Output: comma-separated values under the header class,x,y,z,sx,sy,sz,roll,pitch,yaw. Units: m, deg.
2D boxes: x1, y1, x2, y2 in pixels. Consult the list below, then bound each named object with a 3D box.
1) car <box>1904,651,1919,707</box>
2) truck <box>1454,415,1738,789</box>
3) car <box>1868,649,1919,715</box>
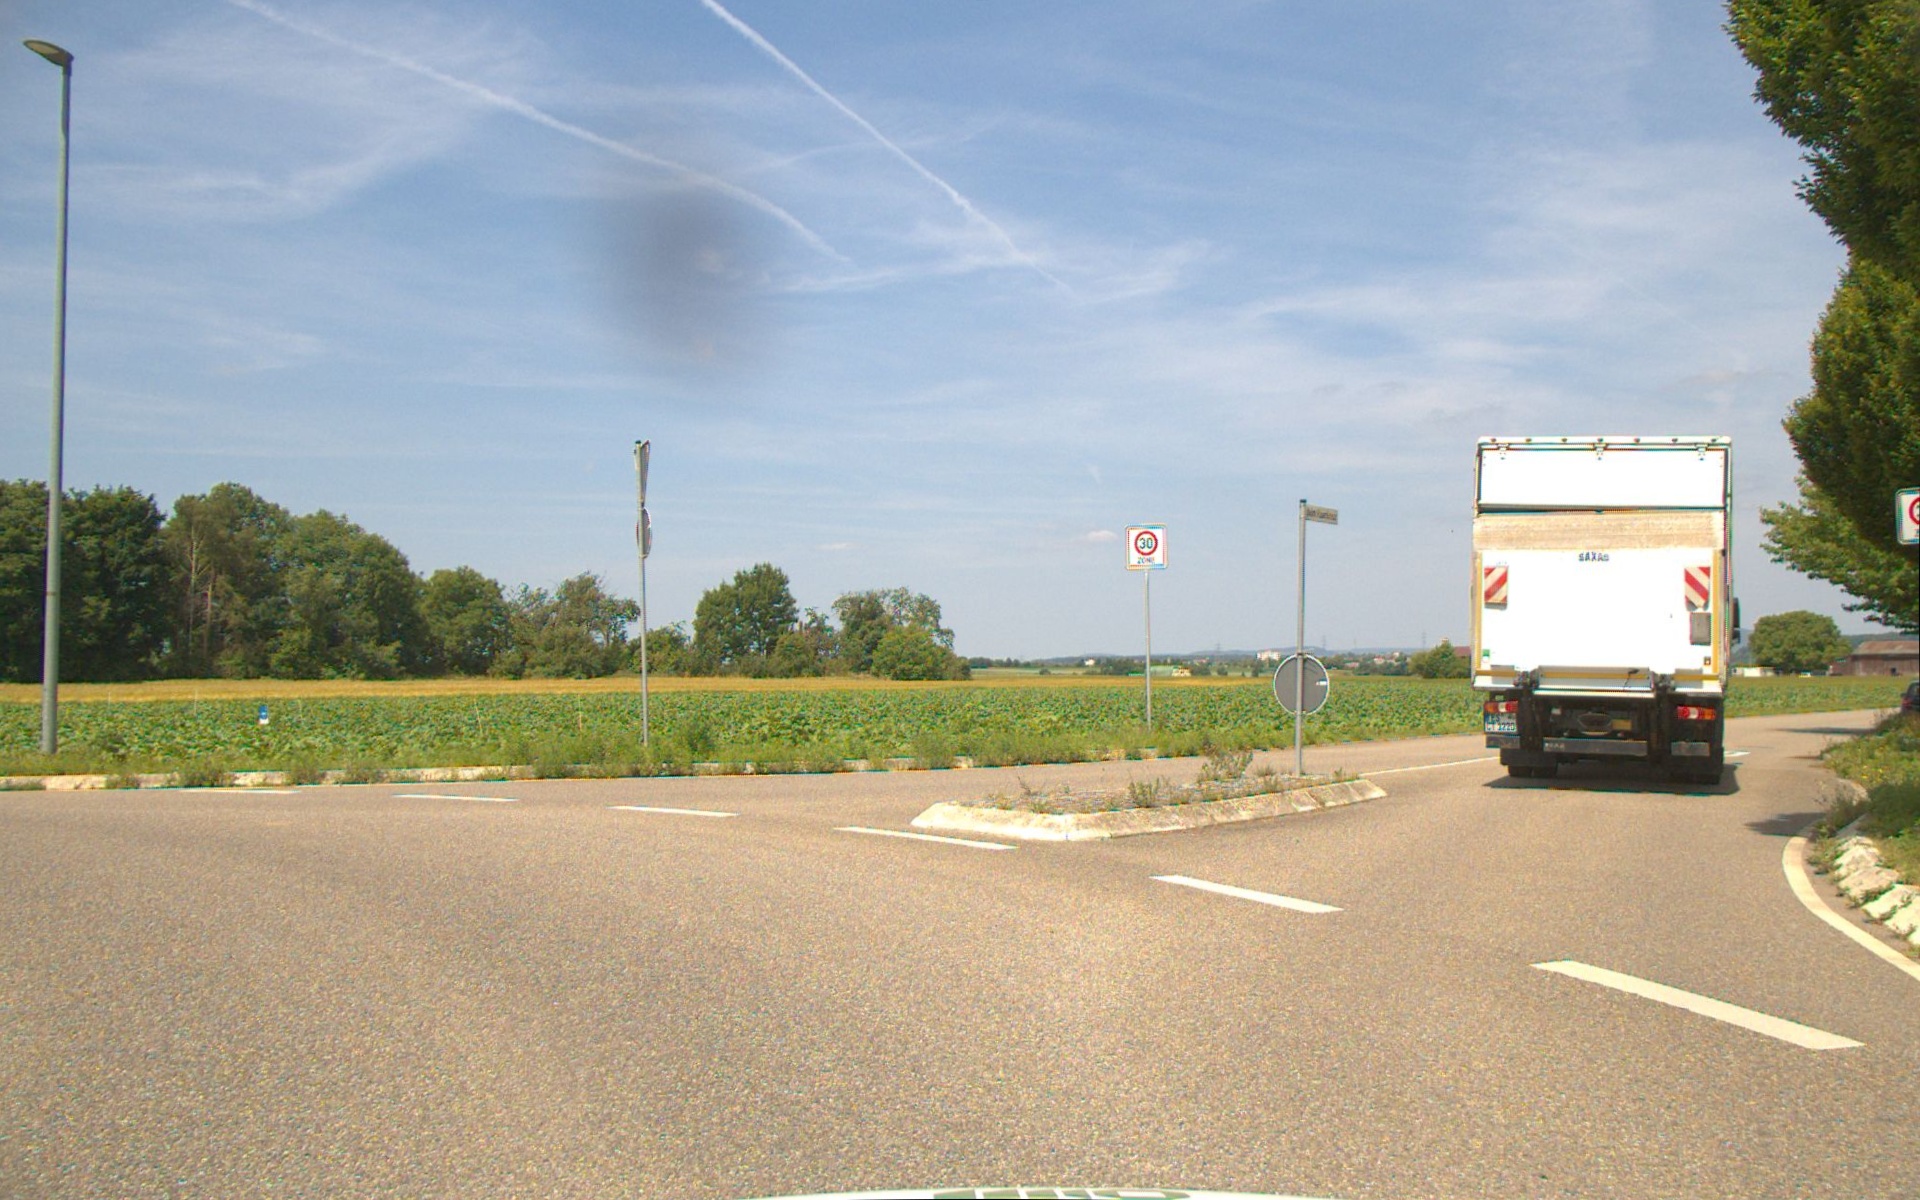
class,x,y,z,sx,sy,sz,roll,pitch,yaw
car,31.981,2.565,53.726,1.959,1.747,3.986,-2,-4,34
truck,8.458,0.165,21.345,2.712,3.735,9.375,-1,-2,25
car,27.870,2.376,48.299,1.958,1.825,3.987,-4,-4,34
